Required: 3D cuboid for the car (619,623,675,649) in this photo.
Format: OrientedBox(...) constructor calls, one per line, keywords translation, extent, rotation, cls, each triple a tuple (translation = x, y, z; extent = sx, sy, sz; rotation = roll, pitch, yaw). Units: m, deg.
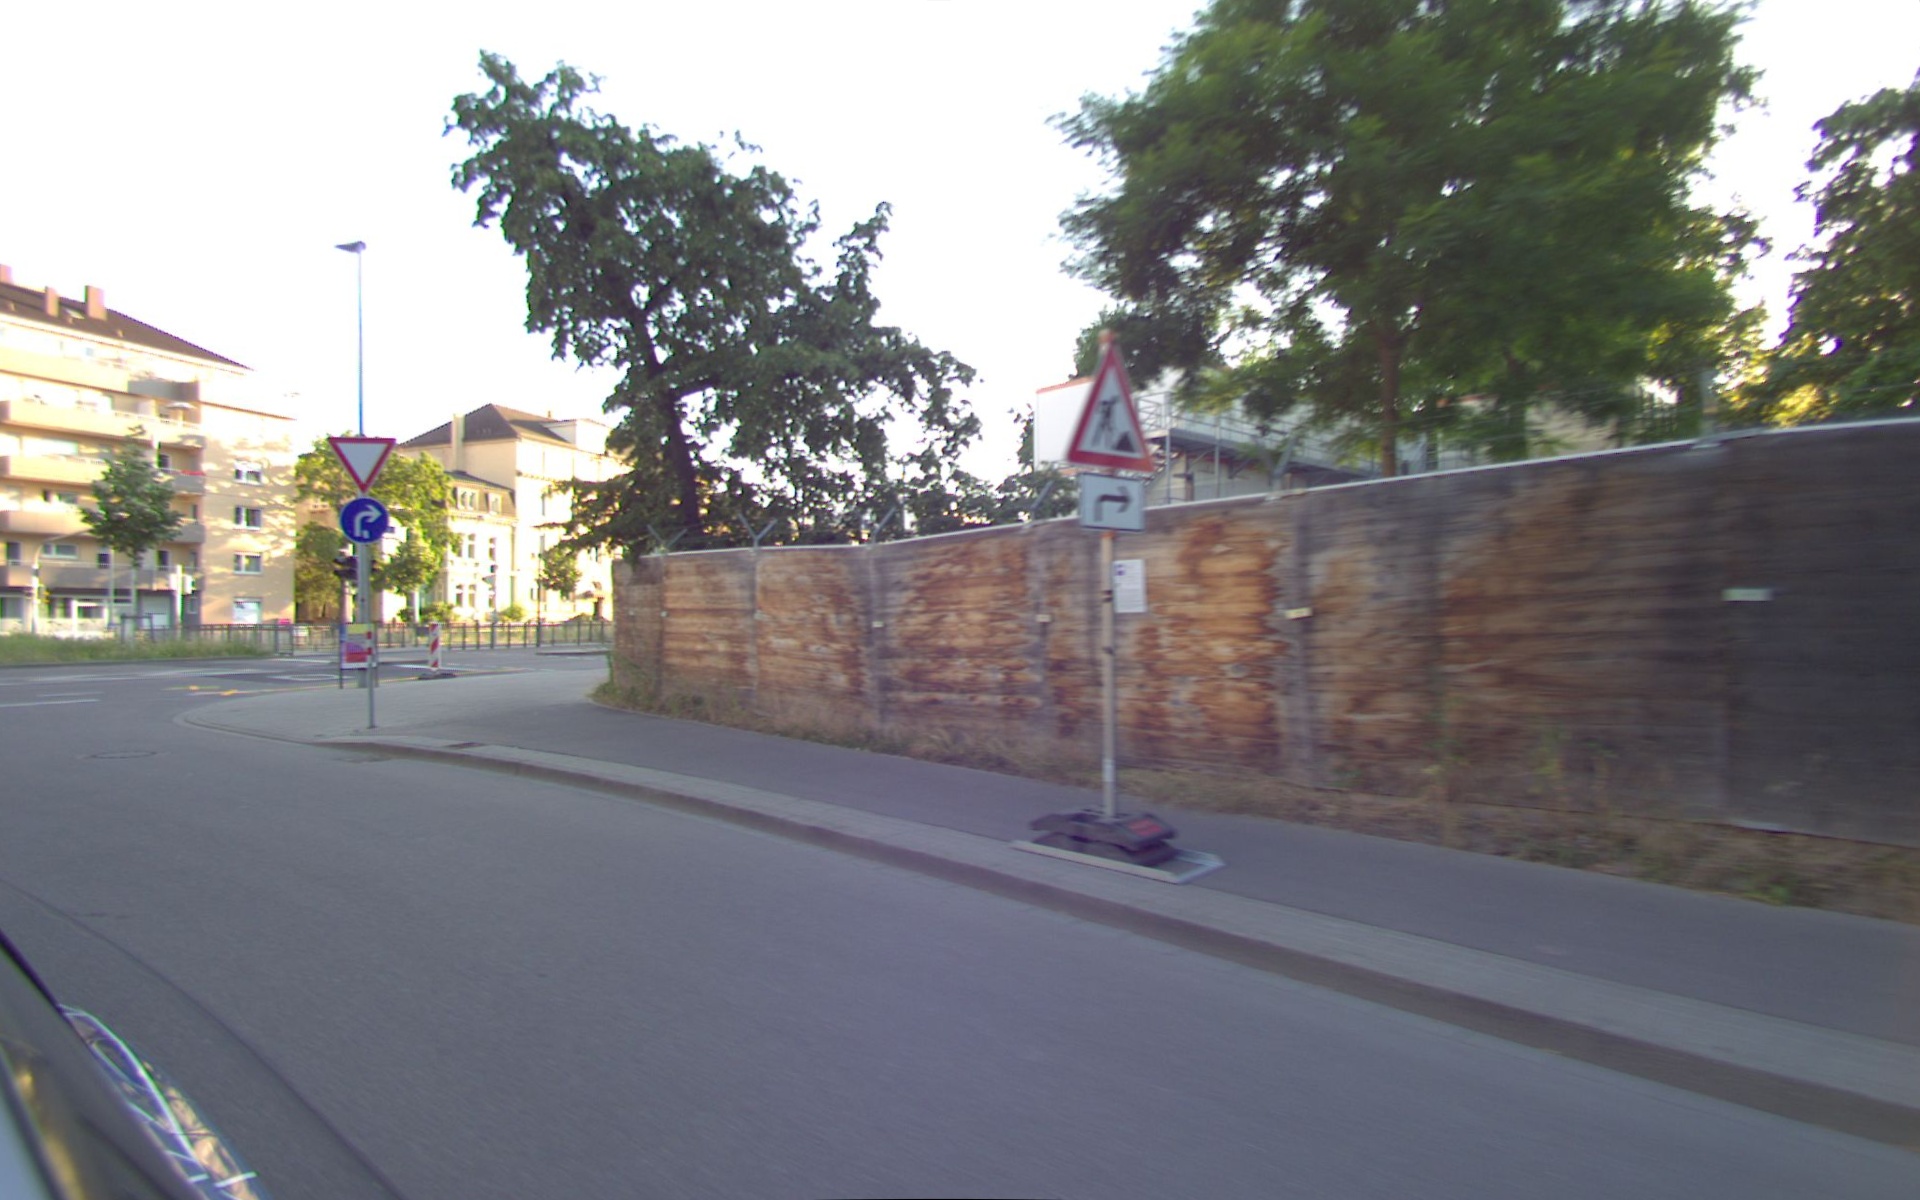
OrientedBox(translation=(-19.866, 2.263, 64.327), extent=(1.726, 1.579, 3.356), rotation=(-1, -1, 21), cls="car")
